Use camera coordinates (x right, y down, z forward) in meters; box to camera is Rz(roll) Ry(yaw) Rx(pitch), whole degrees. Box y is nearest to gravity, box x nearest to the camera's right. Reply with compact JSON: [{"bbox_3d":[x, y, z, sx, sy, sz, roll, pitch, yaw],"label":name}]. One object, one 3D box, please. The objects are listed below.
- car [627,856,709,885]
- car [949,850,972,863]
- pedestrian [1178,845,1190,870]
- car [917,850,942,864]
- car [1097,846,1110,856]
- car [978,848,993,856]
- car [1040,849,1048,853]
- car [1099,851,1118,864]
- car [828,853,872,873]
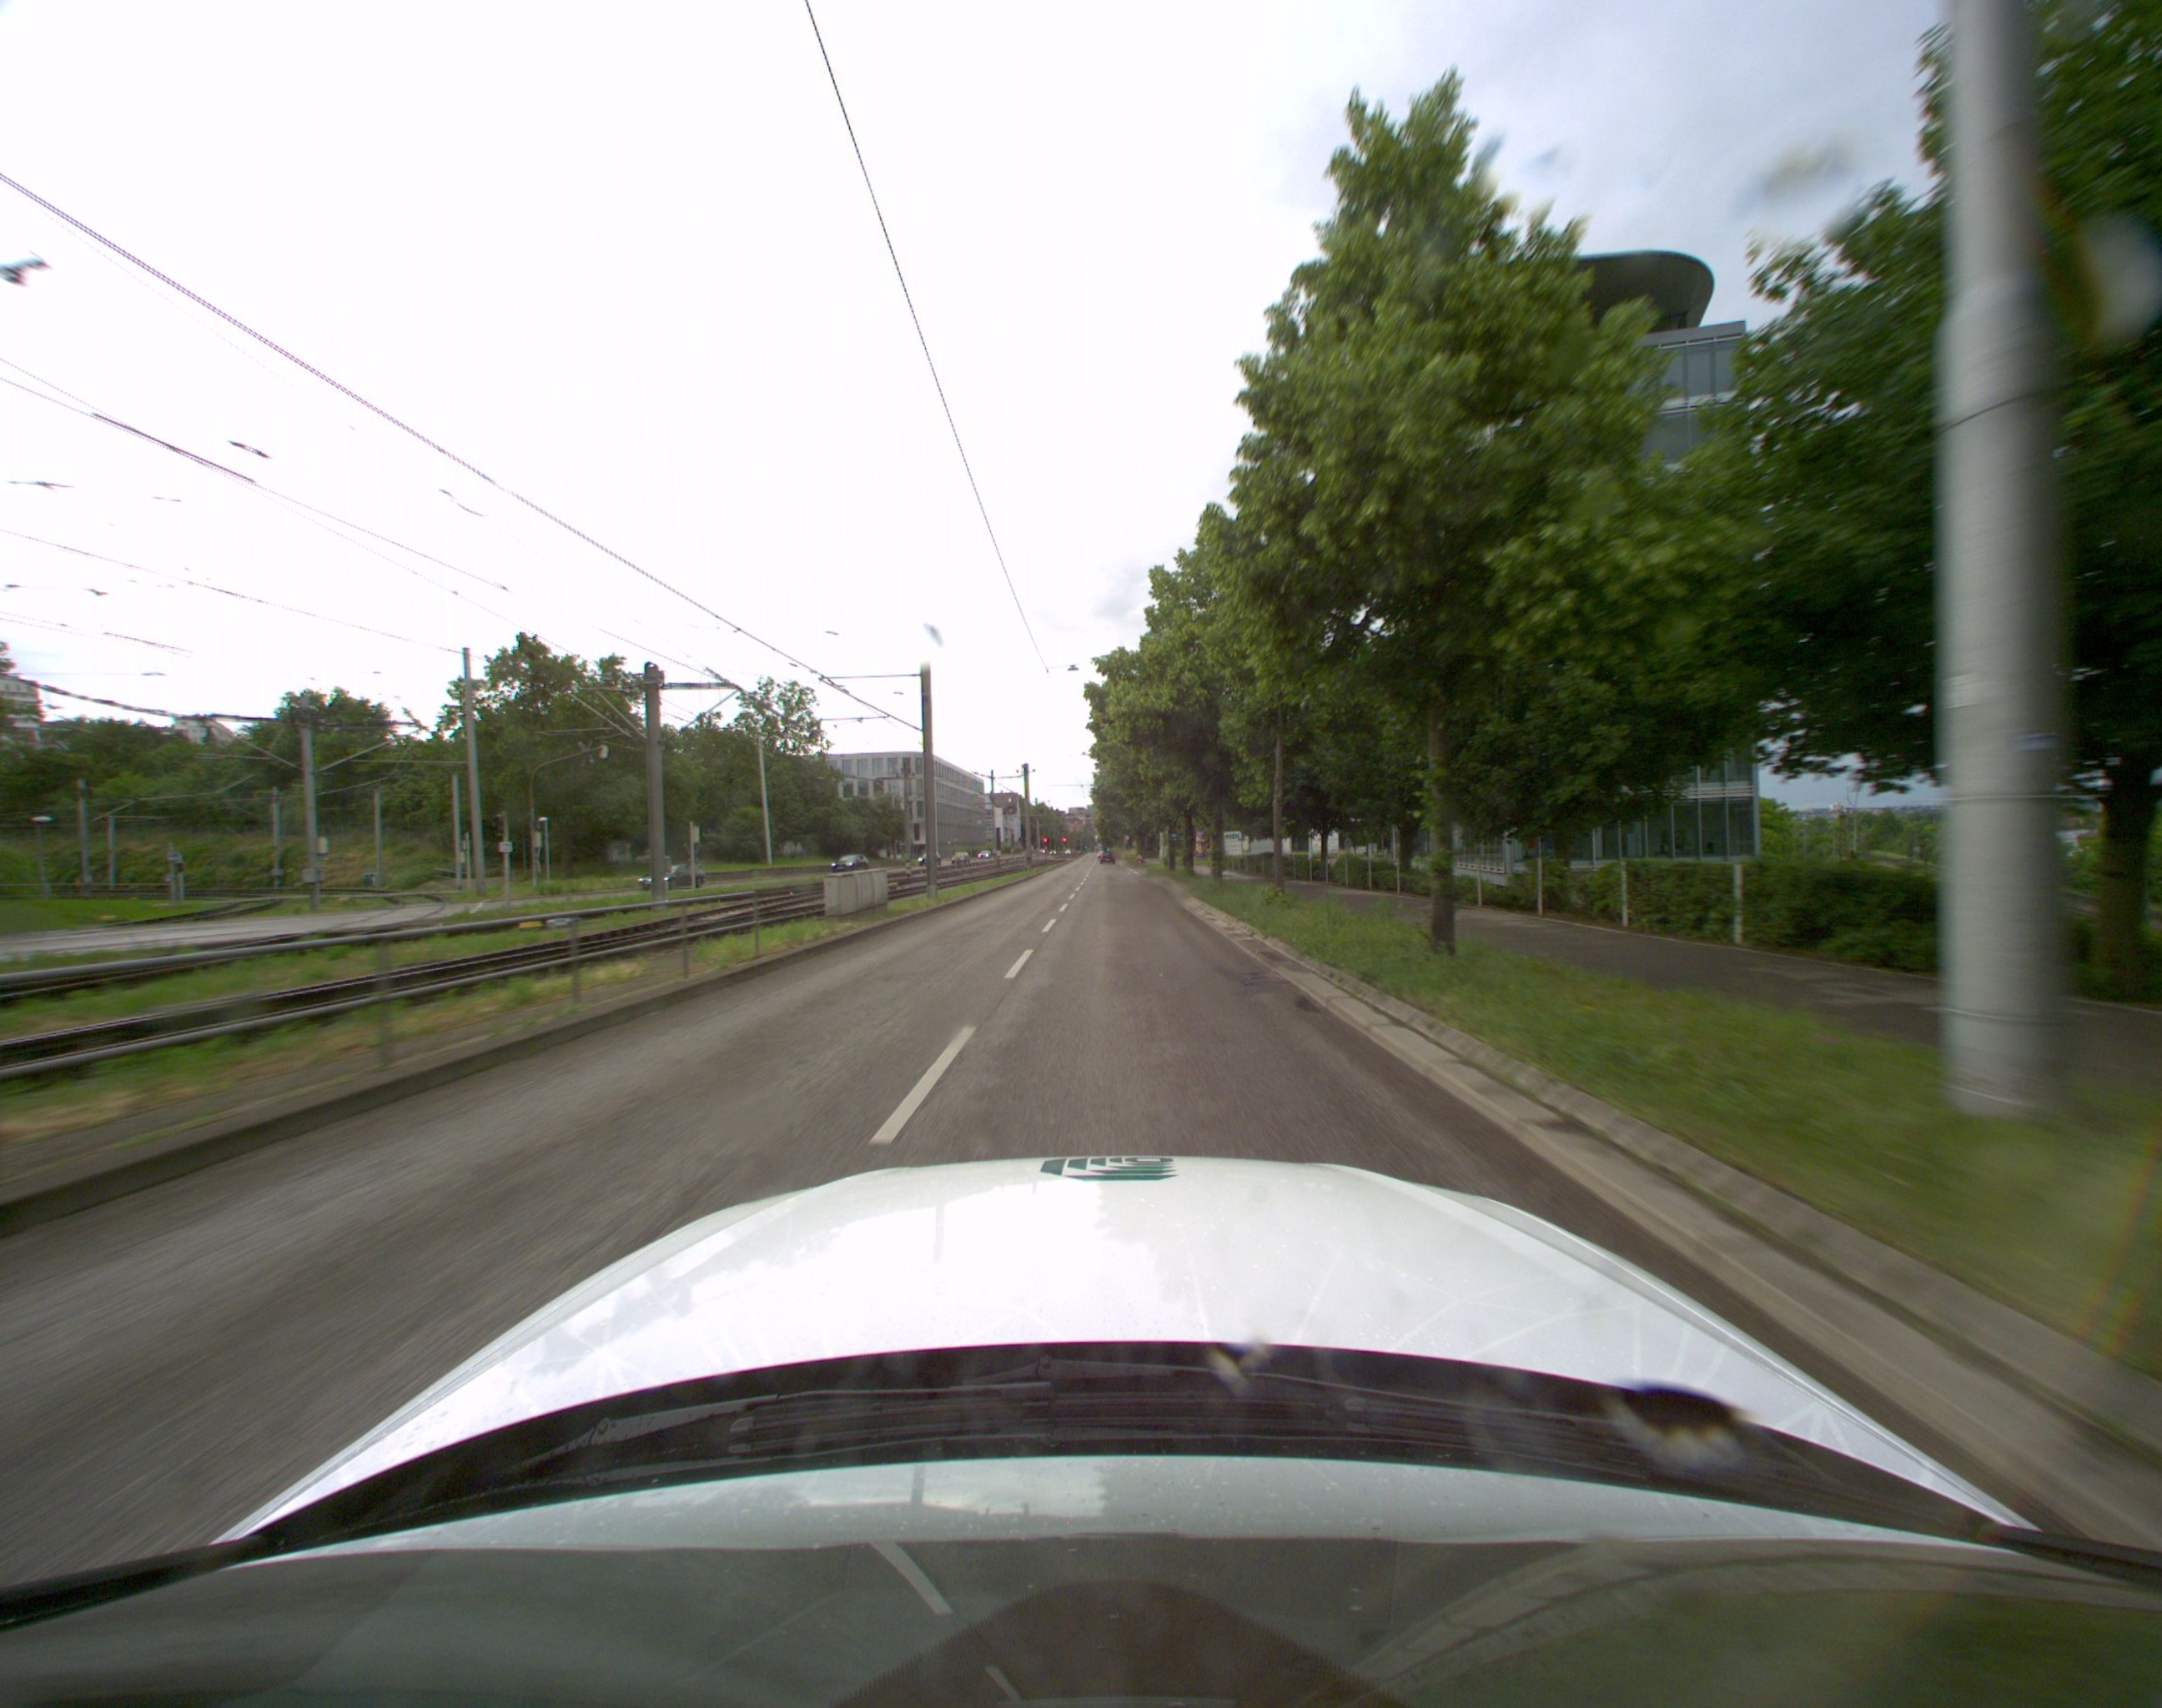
[{"bbox_3d":[-23.180,0.893,45.978,1.918,1.446,4.688,-2,0,4],"label":"car"},{"bbox_3d":[-15.436,0.313,104.634,1.882,1.486,4.314,-2,0,4],"label":"car"},{"bbox_3d":[7.484,0.256,59.213,0.822,1.797,0.868,-1,0,2],"label":"pedestrian"},{"bbox_3d":[-18.518,0.371,99.684,1.940,1.595,4.851,-2,0,3],"label":"car"},{"bbox_3d":[3.457,-0.431,126.354,1.974,1.440,4.476,-2,0,2],"label":"car"},{"bbox_3d":[-16.474,-0.367,140.194,1.753,1.397,3.905,-2,0,4],"label":"car"},{"bbox_3d":[-10.448,-0.811,230.649,1.750,1.244,3.990,-2,0,2],"label":"car"},{"bbox_3d":[3.127,0.380,92.300,1.974,1.440,4.476,-2,0,2],"label":"car"},{"bbox_3d":[-20.640,0.770,72.929,2.080,1.589,5.165,-2,0,4],"label":"car"}]
